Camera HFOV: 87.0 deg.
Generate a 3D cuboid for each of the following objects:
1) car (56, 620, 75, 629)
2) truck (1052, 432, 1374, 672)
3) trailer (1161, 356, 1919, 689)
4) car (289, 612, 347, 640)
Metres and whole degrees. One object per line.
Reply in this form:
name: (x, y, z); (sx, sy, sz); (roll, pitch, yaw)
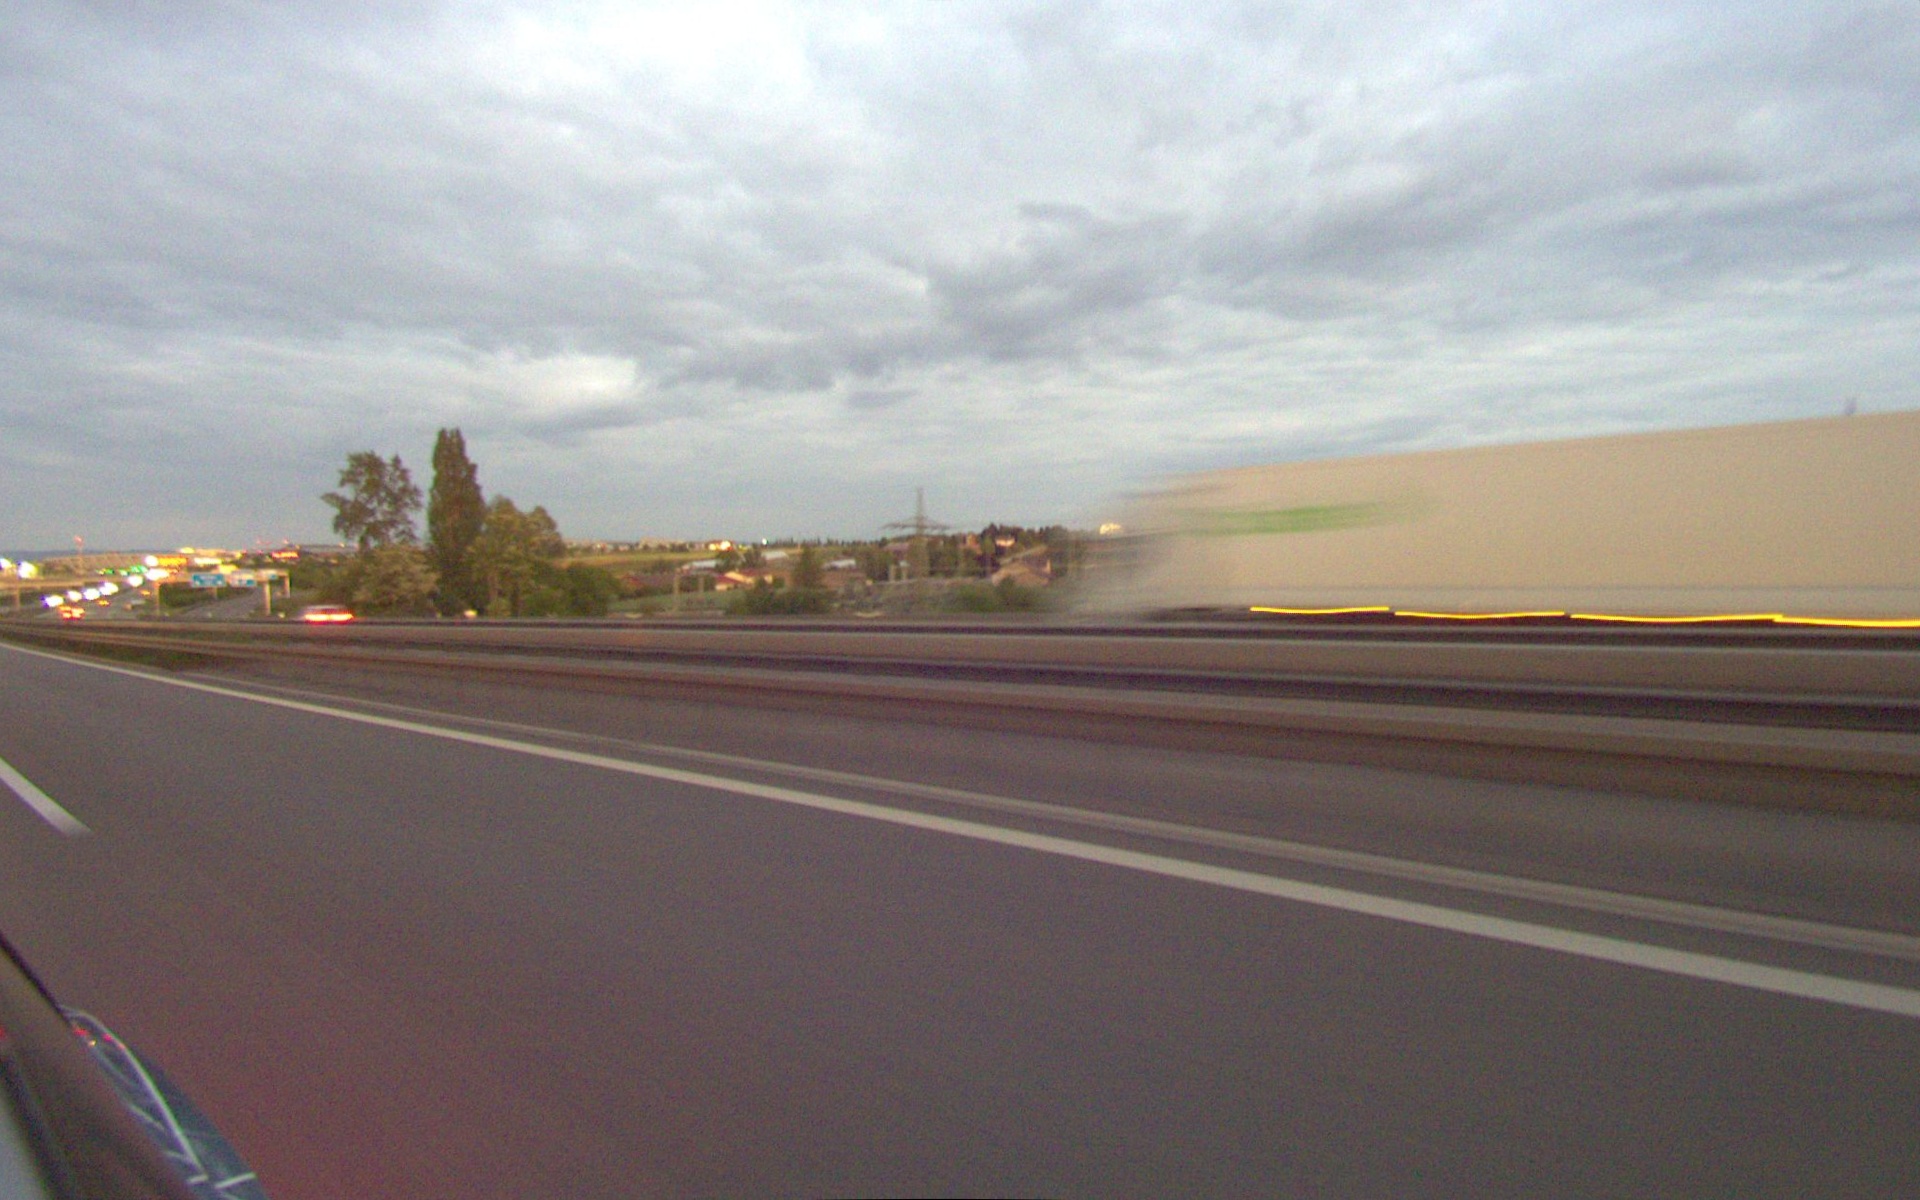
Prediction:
car: (-157.049, 4.288, 177.627); (4.796, 1.414, 1.973); (-1, -1, 41)
truck: (5.409, -0.860, 22.237); (6.240, 4.541, 2.796); (-1, -1, 40)
trailer: (10.729, -0.987, 17.657); (14.617, 4.541, 2.796); (-1, -1, 40)
car: (-39.923, 1.619, 62.896); (4.845, 1.637, 1.971); (-1, -1, 44)
